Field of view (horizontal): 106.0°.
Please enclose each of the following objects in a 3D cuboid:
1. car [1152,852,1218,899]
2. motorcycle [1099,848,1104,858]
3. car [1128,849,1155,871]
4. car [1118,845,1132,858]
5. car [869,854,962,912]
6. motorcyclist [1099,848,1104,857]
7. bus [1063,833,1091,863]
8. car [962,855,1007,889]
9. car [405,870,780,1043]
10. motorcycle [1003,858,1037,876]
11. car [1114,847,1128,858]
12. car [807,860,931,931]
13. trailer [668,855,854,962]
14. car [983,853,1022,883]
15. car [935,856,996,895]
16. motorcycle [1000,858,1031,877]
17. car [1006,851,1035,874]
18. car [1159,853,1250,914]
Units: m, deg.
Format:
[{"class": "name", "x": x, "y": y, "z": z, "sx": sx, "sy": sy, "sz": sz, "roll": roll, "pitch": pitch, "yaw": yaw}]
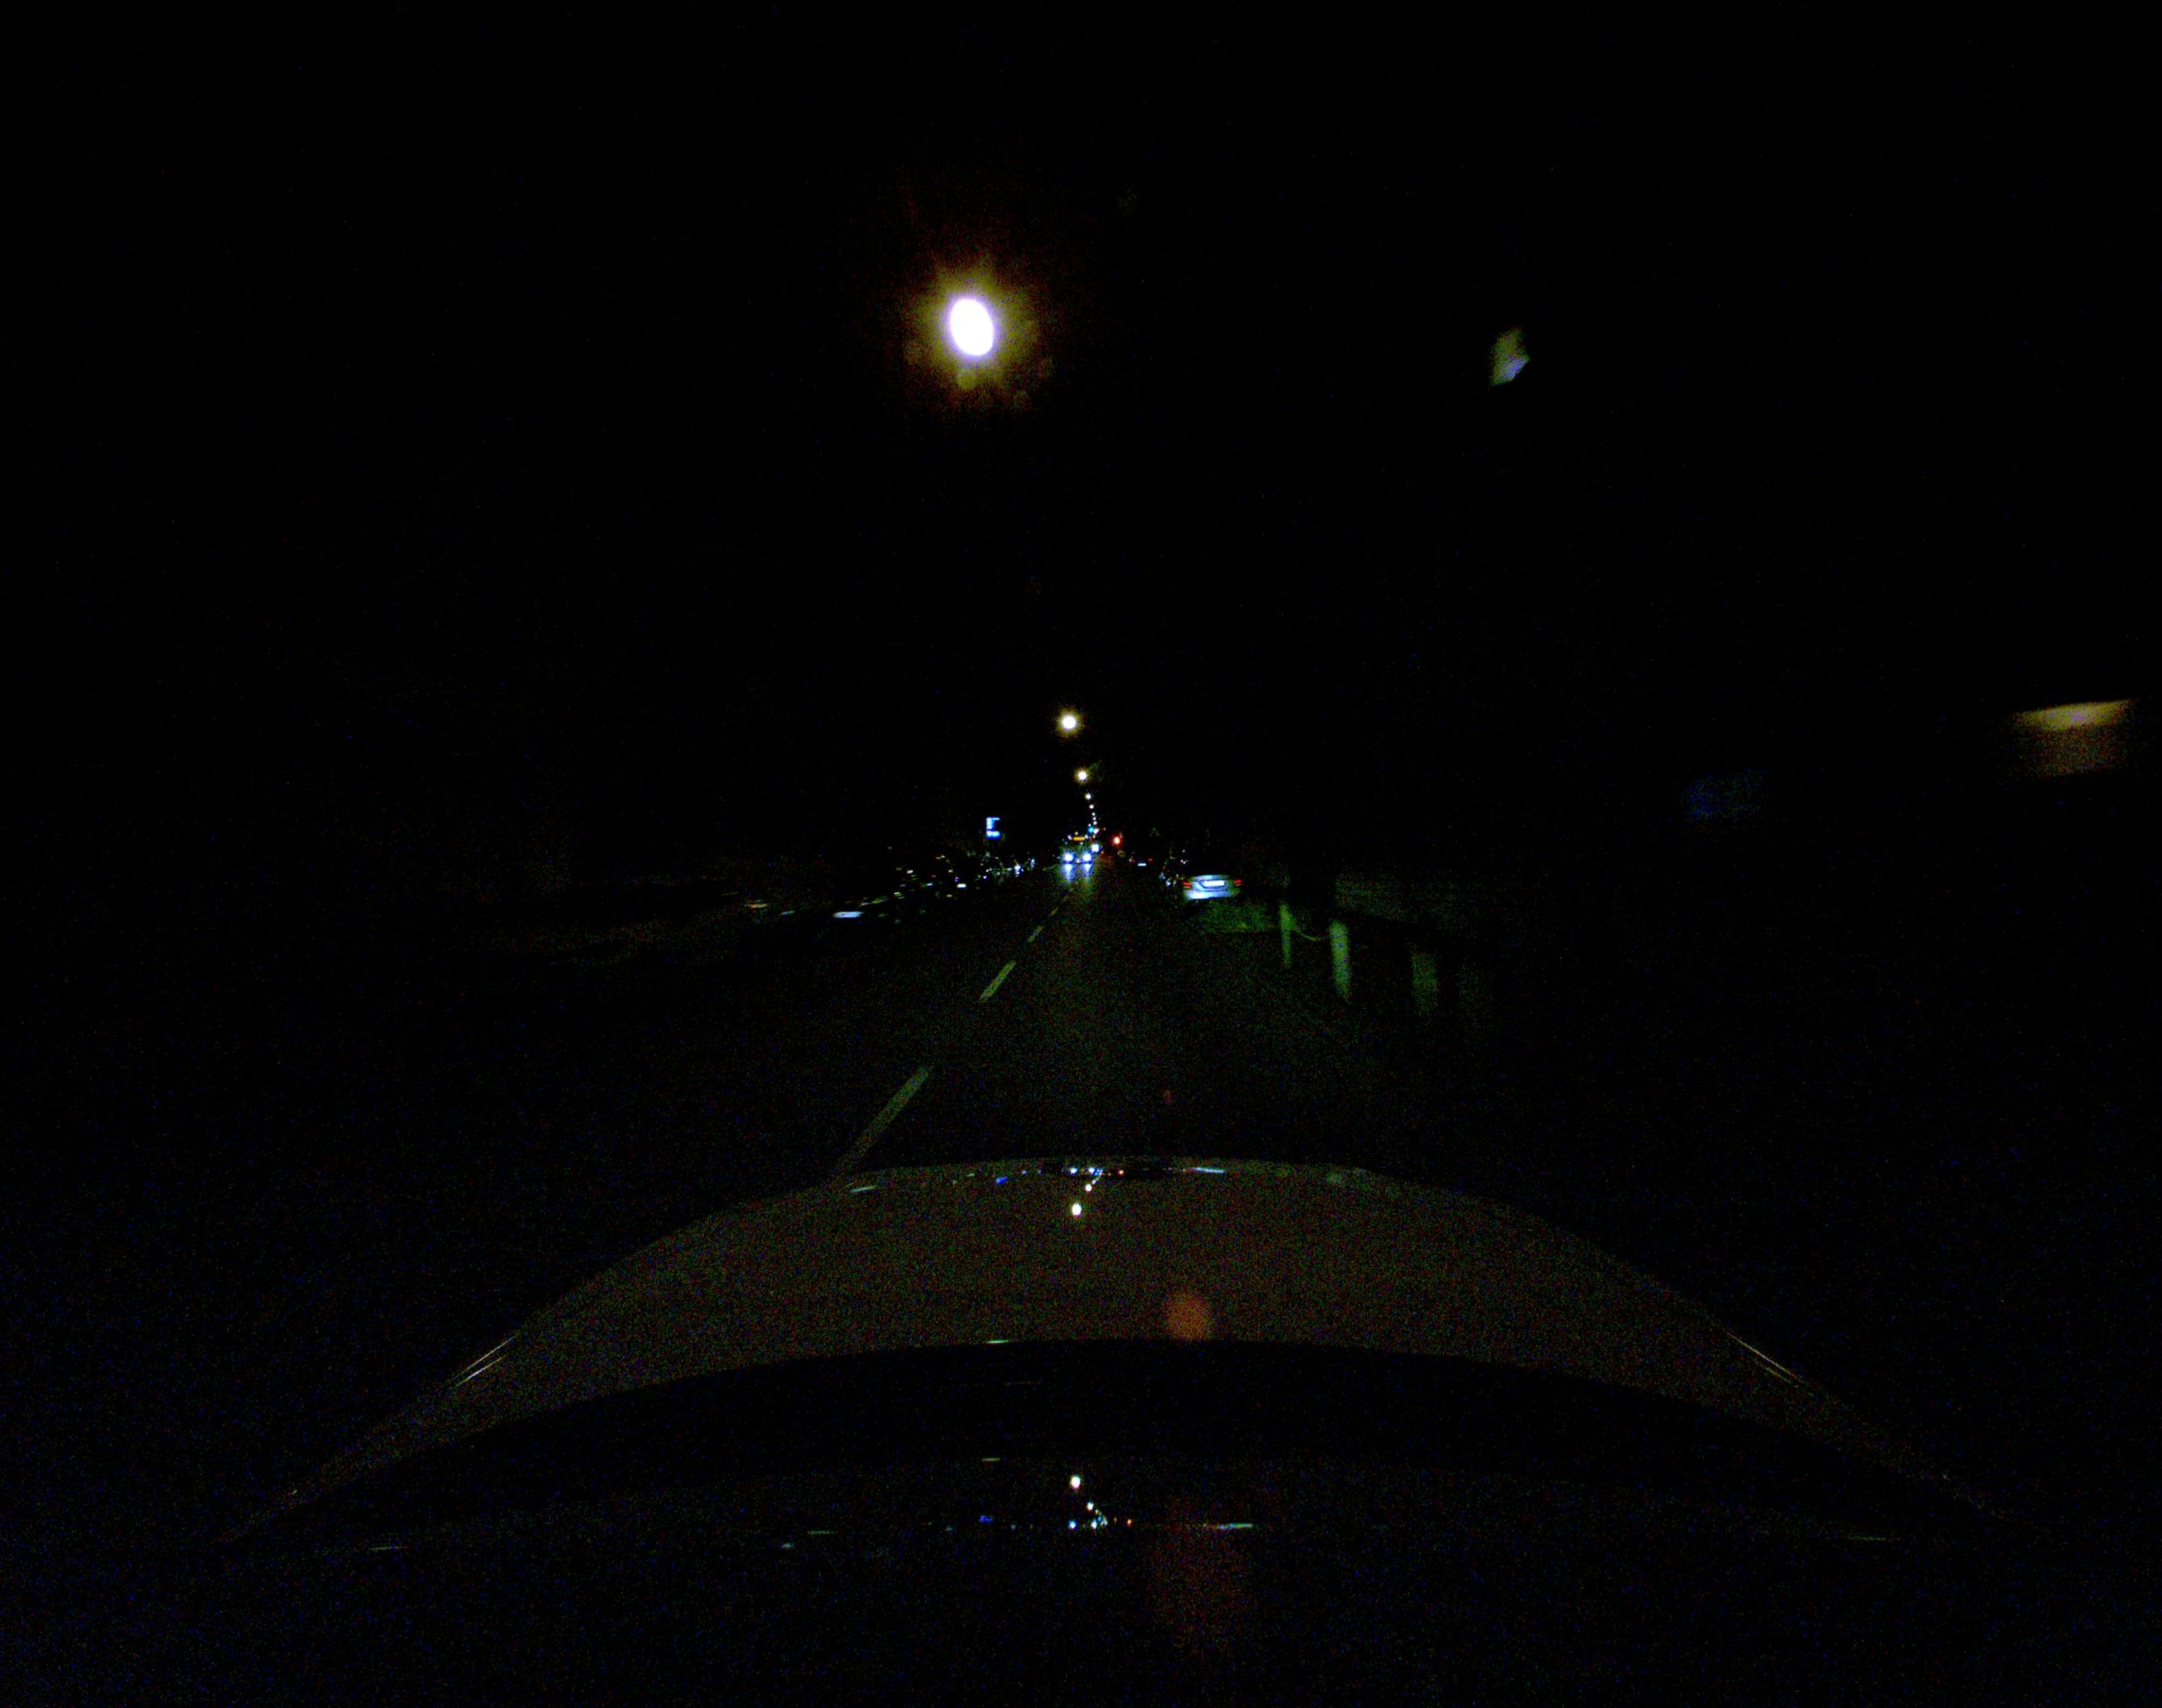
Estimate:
[{"class": "car", "x": 3.507, "y": 0.701, "z": 28.038, "sx": 1.765, "sy": 1.448, "sz": 4.020, "roll": -2, "pitch": 0, "yaw": 1}, {"class": "motorcycle", "x": 3.829, "y": -0.125, "z": 149.556, "sx": 0.927, "sy": 1.752, "sz": 2.626, "roll": 0, "pitch": -1, "yaw": 2}, {"class": "car", "x": 4.516, "y": 0.419, "z": 61.232, "sx": 1.756, "sy": 1.476, "sz": 4.082, "roll": -3, "pitch": 1, "yaw": 2}, {"class": "car", "x": 5.916, "y": -0.353, "z": 110.165, "sx": 1.805, "sy": 1.594, "sz": 4.275, "roll": -3, "pitch": 1, "yaw": 1}, {"class": "car", "x": -5.018, "y": 0.827, "z": 25.321, "sx": 1.828, "sy": 1.619, "sz": 4.546, "roll": 0, "pitch": 0, "yaw": 2}, {"class": "motorcyclist", "x": 3.827, "y": -0.281, "z": 149.603, "sx": 0.845, "sy": 1.752, "sz": 0.806, "roll": 0, "pitch": -1, "yaw": 1}, {"class": "bus", "x": -0.361, "y": -0.716, "z": 93.318, "sx": 2.827, "sy": 3.177, "sz": 10.502, "roll": 0, "pitch": 1, "yaw": 2}, {"class": "car", "x": -4.500, "y": 0.817, "z": 38.458, "sx": 1.616, "sy": 1.491, "sz": 3.781, "roll": 0, "pitch": 0, "yaw": 1}, {"class": "car", "x": -5.303, "y": 0.981, "z": 9.682, "sx": 1.808, "sy": 1.484, "sz": 4.347, "roll": -1, "pitch": 0, "yaw": 0}, {"class": "motorcycle", "x": -3.946, "y": 0.829, "z": 52.456, "sx": 2.180, "sy": 1.131, "sz": 0.720, "roll": -1, "pitch": 1, "yaw": 34}, {"class": "car", "x": 6.049, "y": -0.271, "z": 123.499, "sx": 1.862, "sy": 1.526, "sz": 4.151, "roll": -3, "pitch": 1, "yaw": 1}, {"class": "car", "x": -5.068, "y": 0.933, "z": 20.150, "sx": 1.829, "sy": 1.446, "sz": 4.544, "roll": -1, "pitch": 1, "yaw": 0}, {"class": "trailer", "x": -5.459, "y": 0.857, "z": 14.377, "sx": 1.629, "sy": 1.639, "sz": 3.445, "roll": 0, "pitch": 0, "yaw": 6}, {"class": "car", "x": -4.395, "y": 0.759, "z": 46.199, "sx": 1.698, "sy": 1.491, "sz": 4.228, "roll": -2, "pitch": 1, "yaw": 1}, {"class": "car", "x": -4.673, "y": 0.845, "z": 33.637, "sx": 1.857, "sy": 1.491, "sz": 4.280, "roll": 0, "pitch": 0, "yaw": 1}, {"class": "motorcycle", "x": -4.052, "y": 0.842, "z": 50.438, "sx": 0.720, "sy": 1.147, "sz": 2.182, "roll": -2, "pitch": 1, "yaw": -41}, {"class": "car", "x": -4.252, "y": 0.595, "z": 57.682, "sx": 1.632, "sy": 1.498, "sz": 2.767, "roll": -1, "pitch": -1, "yaw": 3}, {"class": "car", "x": 3.337, "y": 0.754, "z": 22.881, "sx": 1.839, "sy": 1.417, "sz": 4.646, "roll": -4, "pitch": 0, "yaw": 1}]
